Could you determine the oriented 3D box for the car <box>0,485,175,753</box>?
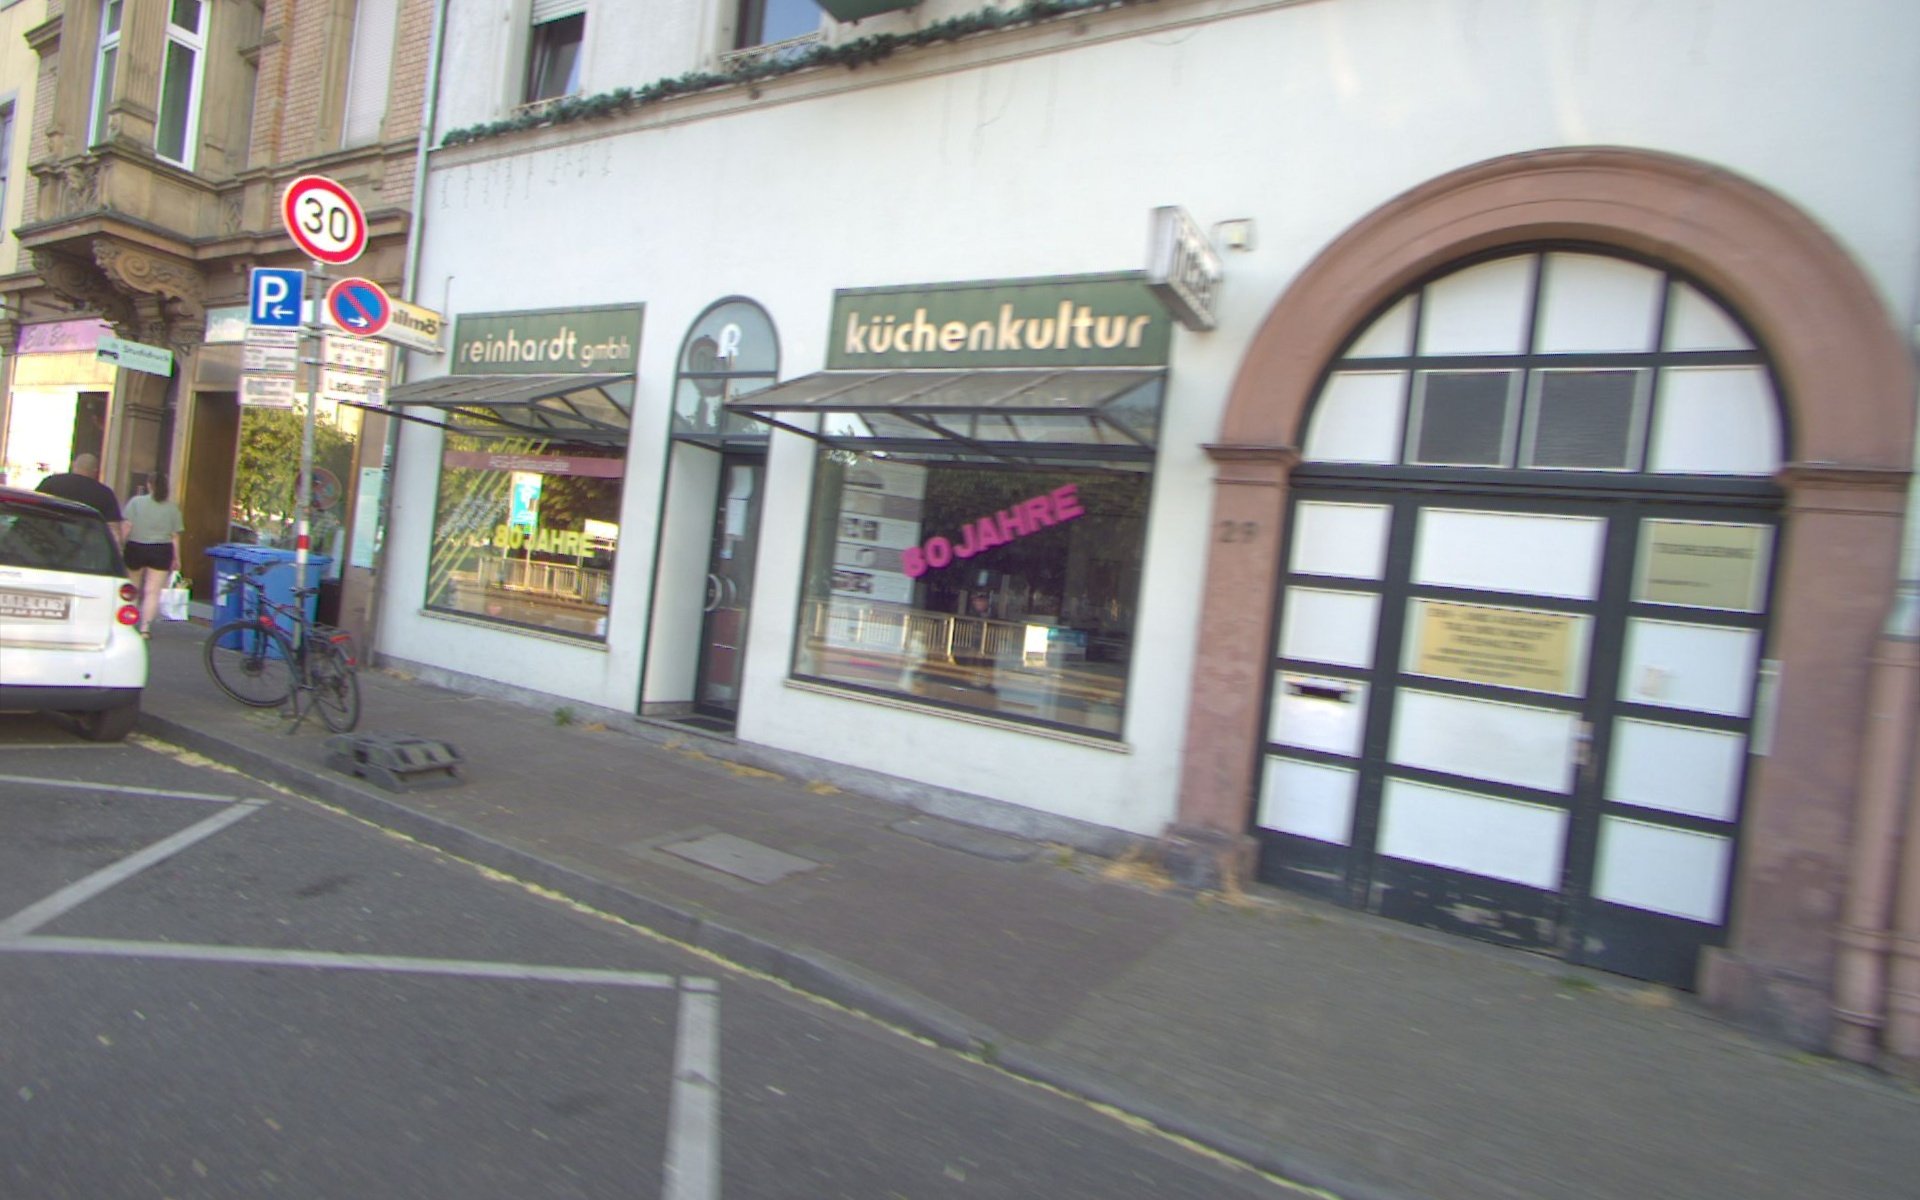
[{"bbox_3d":[-6.936,-0.034,6.713,3.229,1.554,1.535,6,-1,32],"label":"car"}]

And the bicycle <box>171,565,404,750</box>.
[{"bbox_3d":[-4.837,0.373,7.188,1.914,1.028,0.505,7,1,30],"label":"bicycle"}]

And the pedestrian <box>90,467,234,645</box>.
[{"bbox_3d":[-8.425,-0.450,10.620,1.024,1.734,0.773,8,2,30],"label":"pedestrian"}]

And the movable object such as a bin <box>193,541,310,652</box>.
[{"bbox_3d":[-7.502,-0.028,10.663,0.607,1.084,0.775,7,2,30],"label":"movable object such as a bin"}]

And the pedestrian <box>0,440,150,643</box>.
[{"bbox_3d":[-8.744,-0.561,9.916,0.993,1.851,0.773,8,2,30],"label":"pedestrian"}]

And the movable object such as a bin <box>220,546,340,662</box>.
[{"bbox_3d":[-6.961,0.046,10.308,0.607,1.084,0.775,7,2,30],"label":"movable object such as a bin"}]
